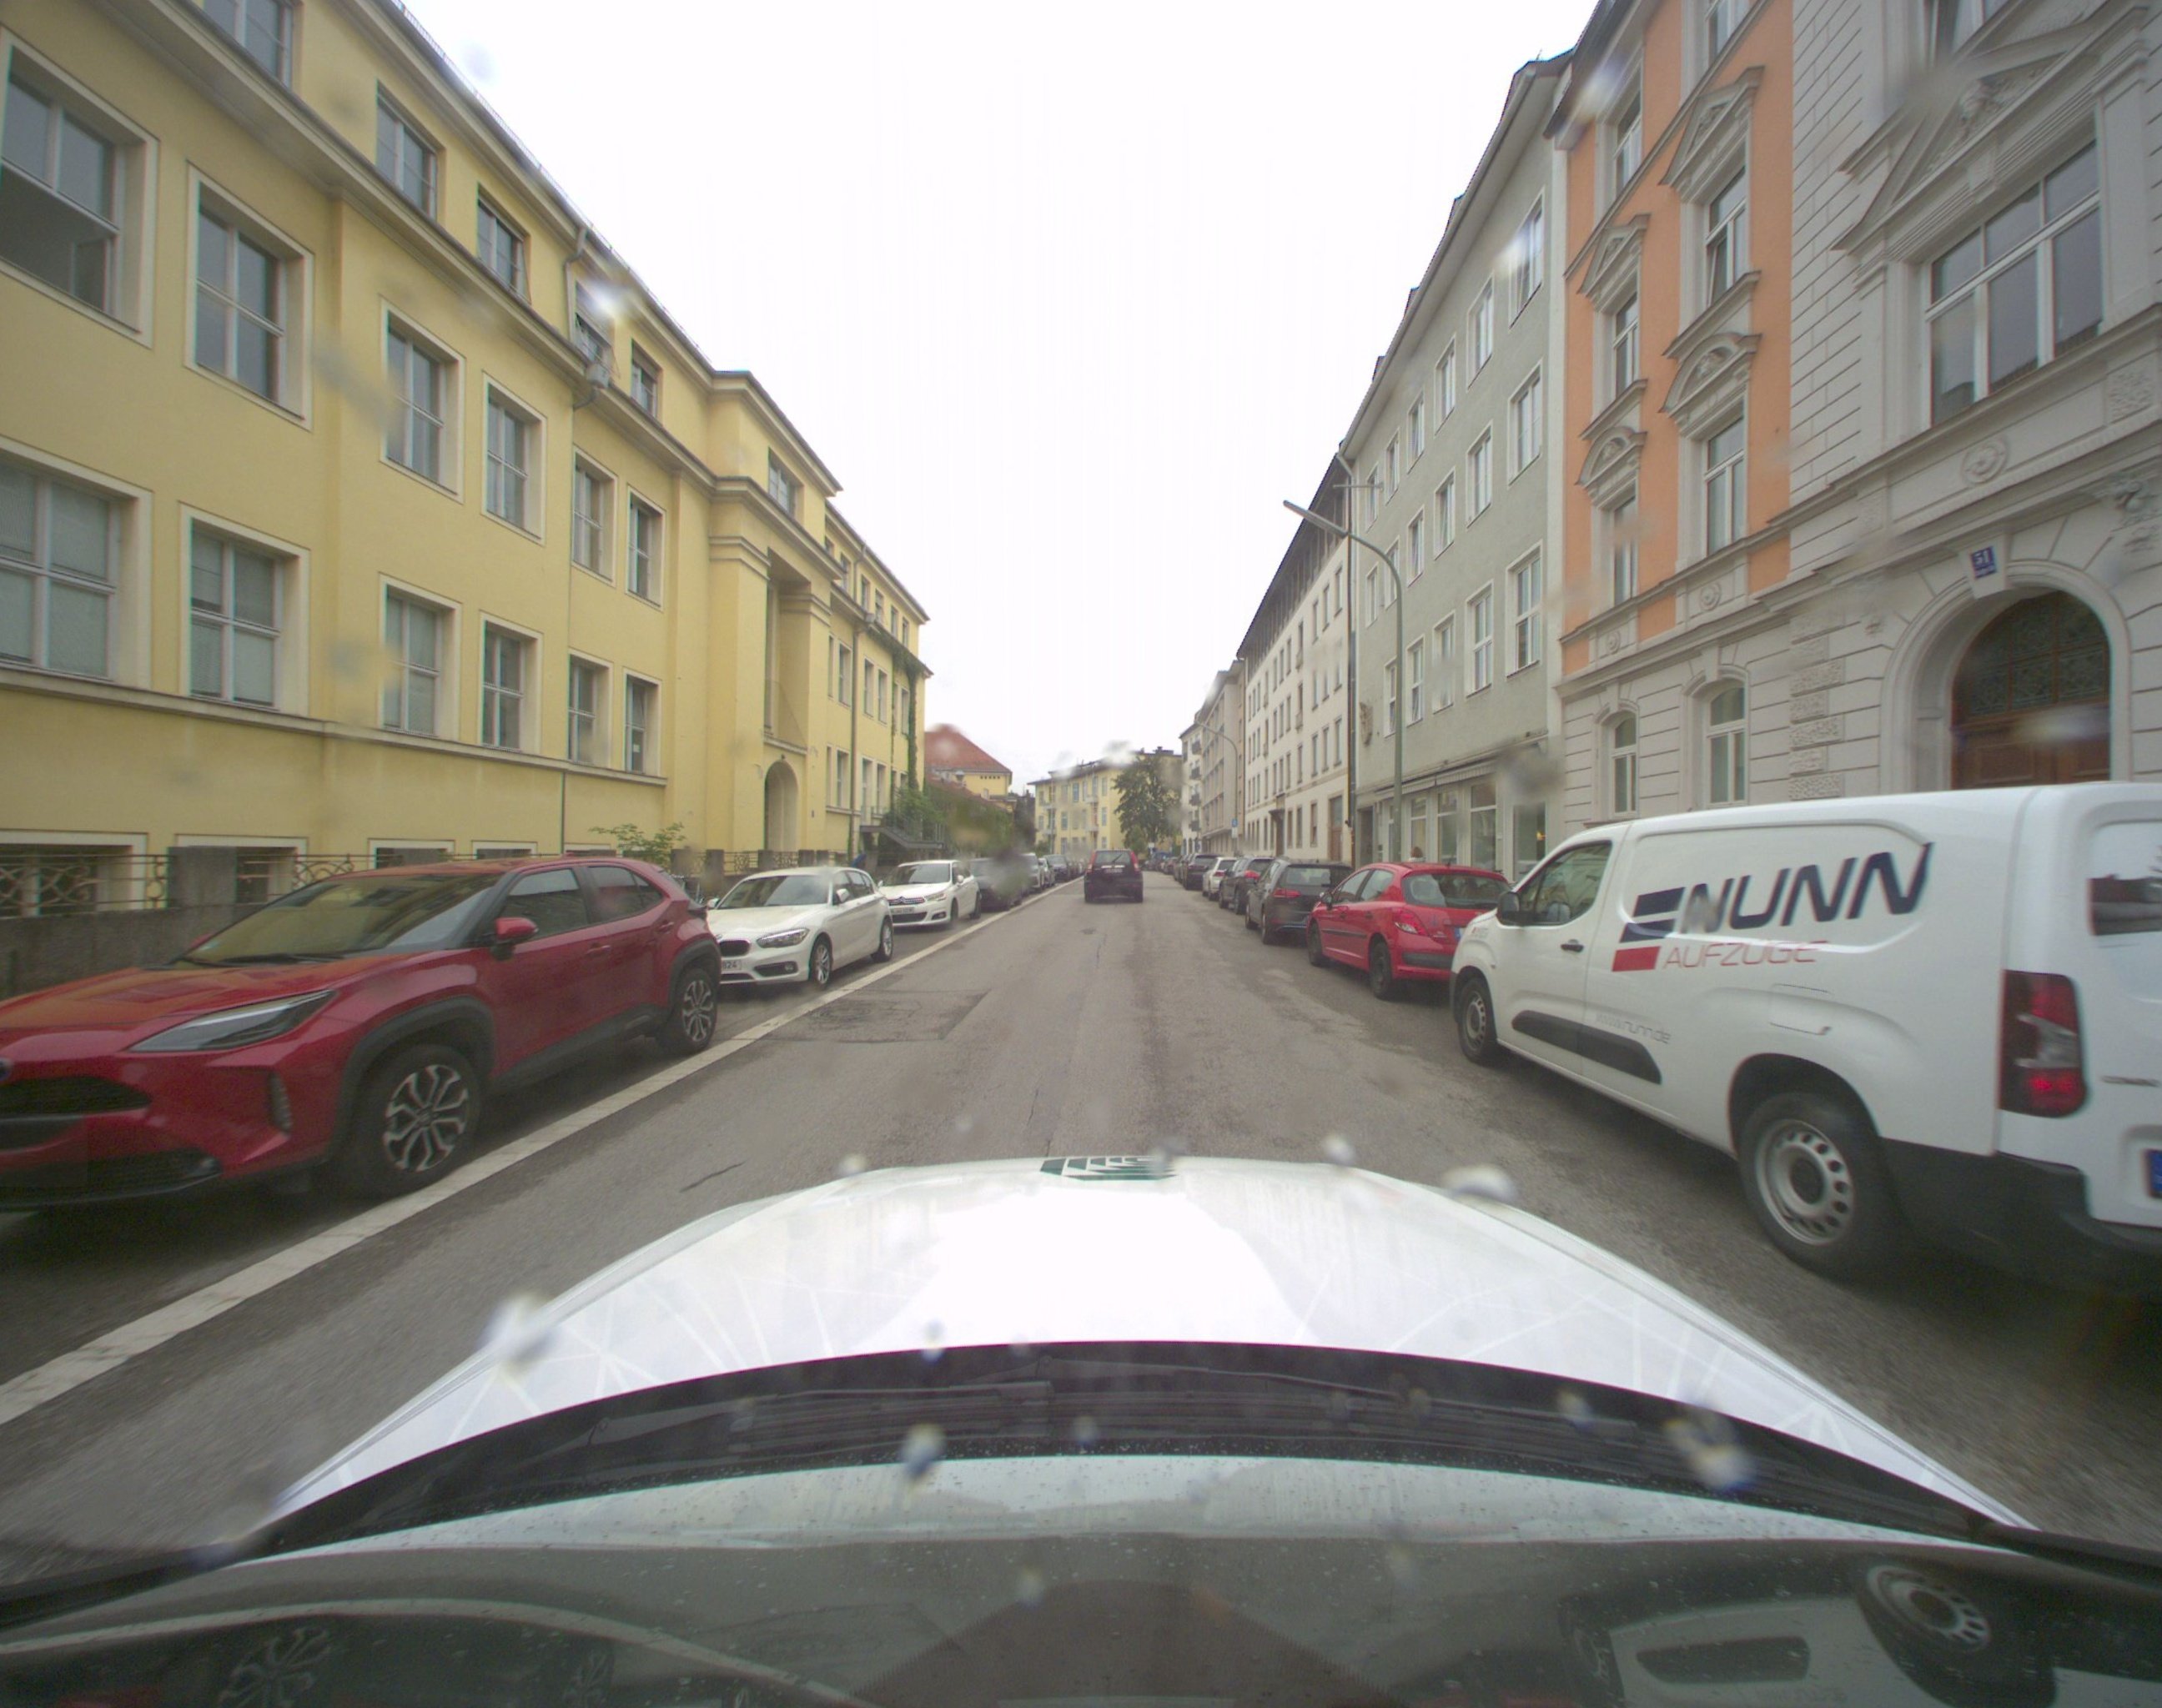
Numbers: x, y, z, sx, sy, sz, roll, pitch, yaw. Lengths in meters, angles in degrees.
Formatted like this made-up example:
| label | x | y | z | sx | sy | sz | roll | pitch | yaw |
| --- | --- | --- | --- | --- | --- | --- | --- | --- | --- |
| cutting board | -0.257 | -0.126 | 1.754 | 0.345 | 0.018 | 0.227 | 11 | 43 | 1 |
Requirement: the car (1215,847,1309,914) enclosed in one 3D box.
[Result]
| label | x | y | z | sx | sy | sz | roll | pitch | yaw |
| --- | --- | --- | --- | --- | --- | --- | --- | --- | --- |
| car | 4.771 | 0.635 | 21.952 | 1.686 | 1.583 | 4.084 | 2 | 0 | 1 |

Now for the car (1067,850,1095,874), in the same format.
| label | x | y | z | sx | sy | sz | roll | pitch | yaw |
| --- | --- | --- | --- | --- | --- | --- | --- | --- | --- |
| car | 0.028 | 0.624 | 68.127 | 1.984 | 1.875 | 4.764 | -1 | 0 | 4 |

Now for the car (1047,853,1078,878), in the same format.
| label | x | y | z | sx | sy | sz | roll | pitch | yaw |
| --- | --- | --- | --- | --- | --- | --- | --- | --- | --- |
| car | -1.170 | 0.709 | 52.579 | 1.775 | 1.538 | 4.151 | -1 | 1 | 2 |

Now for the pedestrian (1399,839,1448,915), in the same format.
| label | x | y | z | sx | sy | sz | roll | pitch | yaw |
| --- | --- | --- | --- | --- | --- | --- | --- | --- | --- |
| pedestrian | 7.625 | 0.502 | 18.169 | 0.731 | 1.625 | 0.829 | -2 | 0 | 4 |

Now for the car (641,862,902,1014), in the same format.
| label | x | y | z | sx | sy | sz | roll | pitch | yaw |
| --- | --- | --- | --- | --- | --- | --- | --- | --- | --- |
| car | -3.663 | 0.896 | 10.480 | 1.669 | 1.398 | 3.998 | -4 | 0 | 1 |

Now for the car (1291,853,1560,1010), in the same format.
| label | x | y | z | sx | sy | sz | roll | pitch | yaw |
| --- | --- | --- | --- | --- | --- | --- | --- | --- | --- |
| car | 3.962 | 0.766 | 10.206 | 1.593 | 1.451 | 4.303 | 3 | 0 | 1 |

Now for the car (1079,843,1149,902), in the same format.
| label | x | y | z | sx | sy | sz | roll | pitch | yaw |
| --- | --- | --- | --- | --- | --- | --- | --- | --- | --- |
| car | 1.155 | 0.543 | 26.302 | 1.986 | 1.694 | 4.386 | -2 | 0 | 5 |

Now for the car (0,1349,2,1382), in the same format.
| label | x | y | z | sx | sy | sz | roll | pitch | yaw |
| --- | --- | --- | --- | --- | --- | --- | --- | --- | --- |
| car | -4.102 | 0.950 | 0.432 | 1.670 | 1.405 | 3.989 | -4 | 0 | -1 |

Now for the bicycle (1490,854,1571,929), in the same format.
| label | x | y | z | sx | sy | sz | roll | pitch | yaw |
| --- | --- | --- | --- | --- | --- | --- | --- | --- | --- |
| bicycle | 7.948 | 0.621 | 14.353 | 2.107 | 1.183 | 0.602 | -1 | 0 | -42 |

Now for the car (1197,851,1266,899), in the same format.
| label | x | y | z | sx | sy | sz | roll | pitch | yaw |
| --- | --- | --- | --- | --- | --- | --- | --- | --- | --- |
| car | 5.070 | 0.656 | 27.957 | 1.686 | 1.463 | 4.084 | 2 | 0 | 1 |

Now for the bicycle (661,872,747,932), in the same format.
| label | x | y | z | sx | sy | sz | roll | pitch | yaw |
| --- | --- | --- | --- | --- | --- | --- | --- | --- | --- |
| bicycle | -7.574 | 0.940 | 16.462 | 0.581 | 1.077 | 1.724 | 1 | 1 | 16 |

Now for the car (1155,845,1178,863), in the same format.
| label | x | y | z | sx | sy | sz | roll | pitch | yaw |
| --- | --- | --- | --- | --- | --- | --- | --- | --- | --- |
| car | 9.147 | -0.029 | 87.507 | 1.957 | 1.816 | 4.937 | -1 | 1 | 1 |

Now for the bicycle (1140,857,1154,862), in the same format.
| label | x | y | z | sx | sy | sz | roll | pitch | yaw |
| --- | --- | --- | --- | --- | --- | --- | --- | --- | --- |
| bicycle | 10.535 | 0.810 | 129.738 | 2.193 | 0.779 | 0.613 | -1 | 0 | 16 |

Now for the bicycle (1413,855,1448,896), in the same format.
| label | x | y | z | sx | sy | sz | roll | pitch | yaw |
| --- | --- | --- | --- | --- | --- | --- | --- | --- | --- |
| bicycle | 9.145 | 0.544 | 21.349 | 0.329 | 1.004 | 1.523 | -2 | 0 | 4 |

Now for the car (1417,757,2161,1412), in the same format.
| label | x | y | z | sx | sy | sz | roll | pitch | yaw |
| --- | --- | --- | --- | --- | --- | --- | --- | --- | --- |
| car | 3.724 | 0.635 | 4.643 | 1.832 | 1.785 | 4.900 | 2 | 1 | 4 |

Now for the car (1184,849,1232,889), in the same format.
| label | x | y | z | sx | sy | sz | roll | pitch | yaw |
| --- | --- | --- | --- | --- | --- | --- | --- | --- | --- |
| car | 5.383 | 0.586 | 34.938 | 1.770 | 1.584 | 4.336 | 0 | 0 | 5 |

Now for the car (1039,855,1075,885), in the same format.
| label | x | y | z | sx | sy | sz | roll | pitch | yaw |
| --- | --- | --- | --- | --- | --- | --- | --- | --- | --- |
| car | -1.330 | 0.876 | 46.831 | 1.775 | 1.538 | 4.197 | -1 | 1 | 2 |

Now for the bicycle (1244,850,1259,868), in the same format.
| label | x | y | z | sx | sy | sz | roll | pitch | yaw |
| --- | --- | --- | --- | --- | --- | --- | --- | --- | --- |
| bicycle | 11.330 | 0.322 | 54.275 | 0.656 | 1.163 | 2.030 | -2 | 0 | 4 |

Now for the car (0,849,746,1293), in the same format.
| label | x | y | z | sx | sy | sz | roll | pitch | yaw |
| --- | --- | --- | --- | --- | --- | --- | --- | --- | --- |
| car | -3.797 | 0.806 | 4.988 | 1.669 | 1.566 | 3.998 | -4 | 0 | 1 |

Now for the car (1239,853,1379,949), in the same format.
| label | x | y | z | sx | sy | sz | roll | pitch | yaw |
| --- | --- | --- | --- | --- | --- | --- | --- | --- | --- |
| car | 4.013 | 0.742 | 14.961 | 1.684 | 1.451 | 4.088 | 2 | 0 | 4 |

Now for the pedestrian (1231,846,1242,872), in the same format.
| label | x | y | z | sx | sy | sz | roll | pitch | yaw |
| --- | --- | --- | --- | --- | --- | --- | --- | --- | --- |
| pedestrian | 9.406 | 0.309 | 49.267 | 0.529 | 1.584 | 0.561 | -2 | 0 | 3 |

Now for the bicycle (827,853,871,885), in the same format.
| label | x | y | z | sx | sy | sz | roll | pitch | yaw |
| --- | --- | --- | --- | --- | --- | --- | --- | --- | --- |
| bicycle | -9.192 | 0.600 | 32.310 | 1.550 | 1.189 | 0.579 | 2 | 0 | 2 |

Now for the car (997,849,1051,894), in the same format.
| label | x | y | z | sx | sy | sz | roll | pitch | yaw |
| --- | --- | --- | --- | --- | --- | --- | --- | --- | --- |
| car | -2.258 | 0.663 | 33.384 | 1.674 | 1.633 | 4.359 | -4 | 0 | 2 |

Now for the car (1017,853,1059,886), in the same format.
| label | x | y | z | sx | sy | sz | roll | pitch | yaw |
| --- | --- | --- | --- | --- | --- | --- | --- | --- | --- |
| car | -2.027 | 0.715 | 39.228 | 1.674 | 1.426 | 3.896 | -2 | 0 | 2 |

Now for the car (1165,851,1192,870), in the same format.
| label | x | y | z | sx | sy | sz | roll | pitch | yaw |
| --- | --- | --- | --- | --- | --- | --- | --- | --- | --- |
| car | 7.835 | 0.506 | 65.812 | 1.789 | 1.420 | 4.485 | -2 | 0 | 2 |

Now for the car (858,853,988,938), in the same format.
| label | x | y | z | sx | sy | sz | roll | pitch | yaw |
| --- | --- | --- | --- | --- | --- | --- | --- | --- | --- |
| car | -3.349 | 0.815 | 18.107 | 1.715 | 1.527 | 4.092 | -4 | 0 | 4 |

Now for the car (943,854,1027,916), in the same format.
| label | x | y | z | sx | sy | sz | roll | pitch | yaw |
| --- | --- | --- | --- | --- | --- | --- | --- | --- | --- |
| car | -2.671 | 0.820 | 23.543 | 1.673 | 1.495 | 3.989 | -4 | 0 | 3 |

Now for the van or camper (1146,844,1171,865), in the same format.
| label | x | y | z | sx | sy | sz | roll | pitch | yaw |
| --- | --- | --- | --- | --- | --- | --- | --- | --- | --- |
| van or camper | 8.857 | 0.083 | 93.187 | 2.055 | 2.231 | 5.433 | -2 | 0 | -2 |

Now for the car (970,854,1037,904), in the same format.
| label | x | y | z | sx | sy | sz | roll | pitch | yaw |
| --- | --- | --- | --- | --- | --- | --- | --- | --- | --- |
| car | -2.638 | 0.822 | 28.581 | 1.673 | 1.505 | 3.977 | -4 | 0 | 3 |

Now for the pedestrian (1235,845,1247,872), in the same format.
| label | x | y | z | sx | sy | sz | roll | pitch | yaw |
| --- | --- | --- | --- | --- | --- | --- | --- | --- | --- |
| pedestrian | 10.121 | 0.267 | 51.616 | 0.594 | 1.654 | 0.631 | -2 | 0 | 3 |
